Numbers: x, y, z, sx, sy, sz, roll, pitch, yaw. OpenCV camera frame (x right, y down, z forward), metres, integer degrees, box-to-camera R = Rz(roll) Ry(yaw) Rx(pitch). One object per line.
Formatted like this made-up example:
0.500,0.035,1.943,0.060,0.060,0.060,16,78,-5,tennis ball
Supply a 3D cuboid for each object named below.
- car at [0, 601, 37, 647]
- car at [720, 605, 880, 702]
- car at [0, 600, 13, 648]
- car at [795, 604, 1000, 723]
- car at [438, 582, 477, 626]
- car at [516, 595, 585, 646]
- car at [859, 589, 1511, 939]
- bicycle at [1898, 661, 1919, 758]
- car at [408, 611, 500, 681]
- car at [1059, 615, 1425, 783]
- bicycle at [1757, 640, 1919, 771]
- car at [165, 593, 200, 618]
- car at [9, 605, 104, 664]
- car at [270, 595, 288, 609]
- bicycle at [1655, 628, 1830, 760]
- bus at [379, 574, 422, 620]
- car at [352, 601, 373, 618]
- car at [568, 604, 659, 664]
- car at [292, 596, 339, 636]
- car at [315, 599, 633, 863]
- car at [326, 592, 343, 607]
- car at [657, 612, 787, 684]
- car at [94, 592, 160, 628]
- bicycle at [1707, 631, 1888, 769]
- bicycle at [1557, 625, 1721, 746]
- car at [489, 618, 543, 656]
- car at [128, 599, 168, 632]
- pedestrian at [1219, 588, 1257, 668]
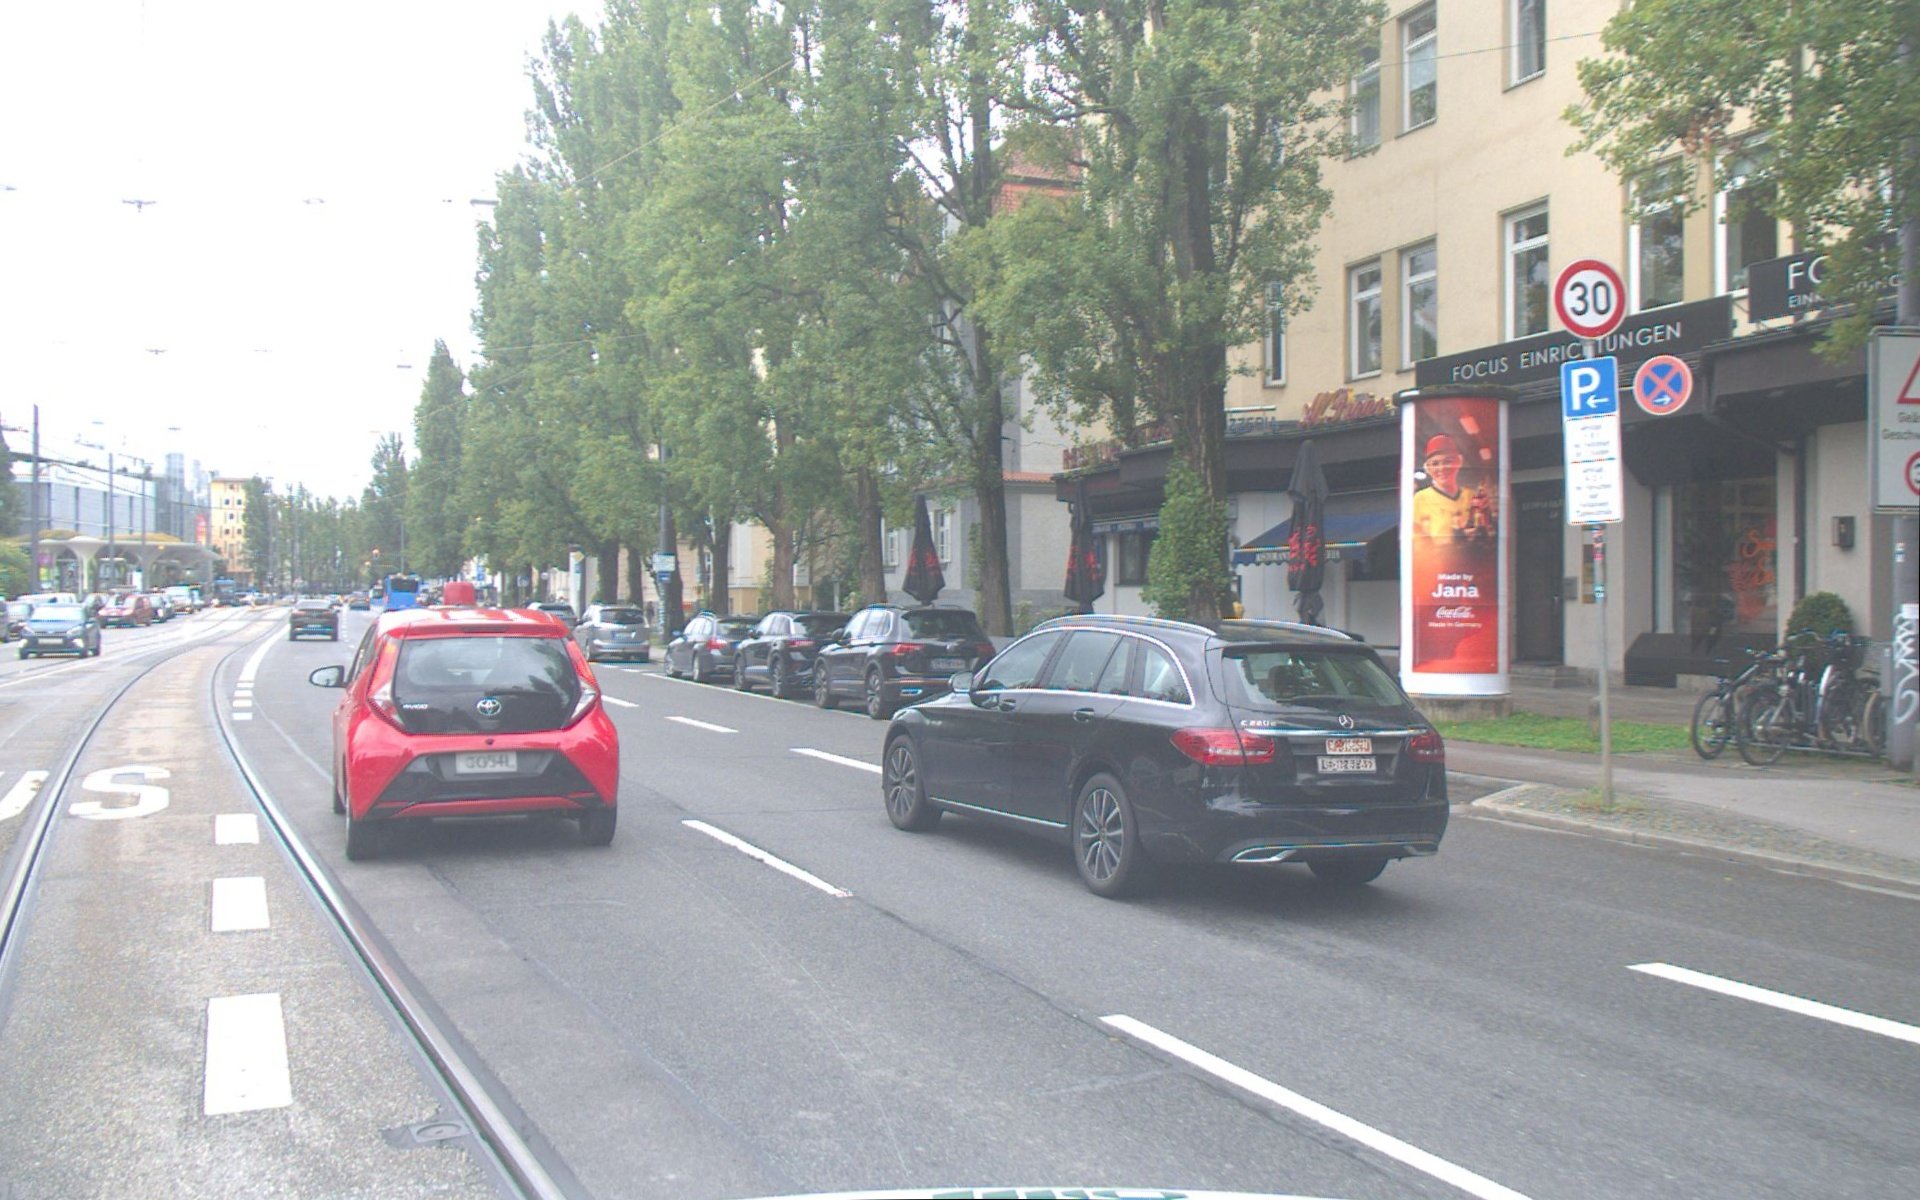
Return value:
-39.491,0.987,68.221,1.774,1.819,4.489,-2,1,-21,car
-3.020,0.916,30.398,1.775,1.640,4.275,0,0,-23,car
-37.323,0.941,62.649,1.774,1.819,4.489,-2,1,-21,car
-1.065,0.886,25.352,1.698,1.640,4.439,0,0,-23,car
-31.059,0.224,102.107,1.965,2.619,4.650,0,1,-21,car
-14.965,0.732,60.276,1.775,1.773,4.667,0,0,-23,car
1.032,0.738,10.133,1.839,1.576,4.669,-1,1,-23,car
9.607,1.029,15.837,1.350,0.899,0.386,0,0,-26,bicycle
-11.820,1.025,38.522,1.756,1.512,3.974,0,0,-21,car
2.747,0.905,17.013,1.777,1.491,3.967,0,0,-26,car
8.097,0.937,15.034,1.860,1.100,0.492,0,0,-26,bicycle
-55.271,0.380,117.632,1.774,1.694,4.491,-2,1,-21,car
-25.407,0.945,46.627,1.774,1.549,4.326,-1,0,-21,car
-76.223,0.251,185.213,1.756,1.512,3.974,0,0,-21,car
7.664,0.894,16.178,1.860,1.206,0.492,0,0,-26,bicycle
-46.084,-0.332,136.012,2.865,3.455,10.737,0,1,-21,bus
-55.744,0.859,154.392,1.756,1.512,3.974,0,0,-21,car
-10.057,0.946,47.787,1.775,1.640,4.515,0,0,-23,car
-26.452,0.638,67.897,1.711,1.576,4.546,0,0,-22,car
-3.364,0.745,11.064,1.607,1.465,3.351,1,-1,-24,car
-80.515,-0.071,212.869,1.776,1.624,3.979,1,-3,-18,car
-5.241,0.993,35.944,1.775,1.423,4.351,0,0,-23,car
-44.832,0.526,89.072,1.766,1.819,4.510,-2,0,-8,car
7.854,0.914,15.500,1.860,1.206,0.492,0,0,-26,bicycle
7.168,0.880,17.436,1.860,1.206,0.492,0,0,-26,bicycle
-18.729,1.542,69.681,1.774,1.534,3.974,0,0,-21,car
-47.878,0.890,97.543,1.775,1.819,4.486,-2,1,-23,car
5.579,0.557,33.175,0.565,1.589,0.492,0,1,-22,pedestrian
